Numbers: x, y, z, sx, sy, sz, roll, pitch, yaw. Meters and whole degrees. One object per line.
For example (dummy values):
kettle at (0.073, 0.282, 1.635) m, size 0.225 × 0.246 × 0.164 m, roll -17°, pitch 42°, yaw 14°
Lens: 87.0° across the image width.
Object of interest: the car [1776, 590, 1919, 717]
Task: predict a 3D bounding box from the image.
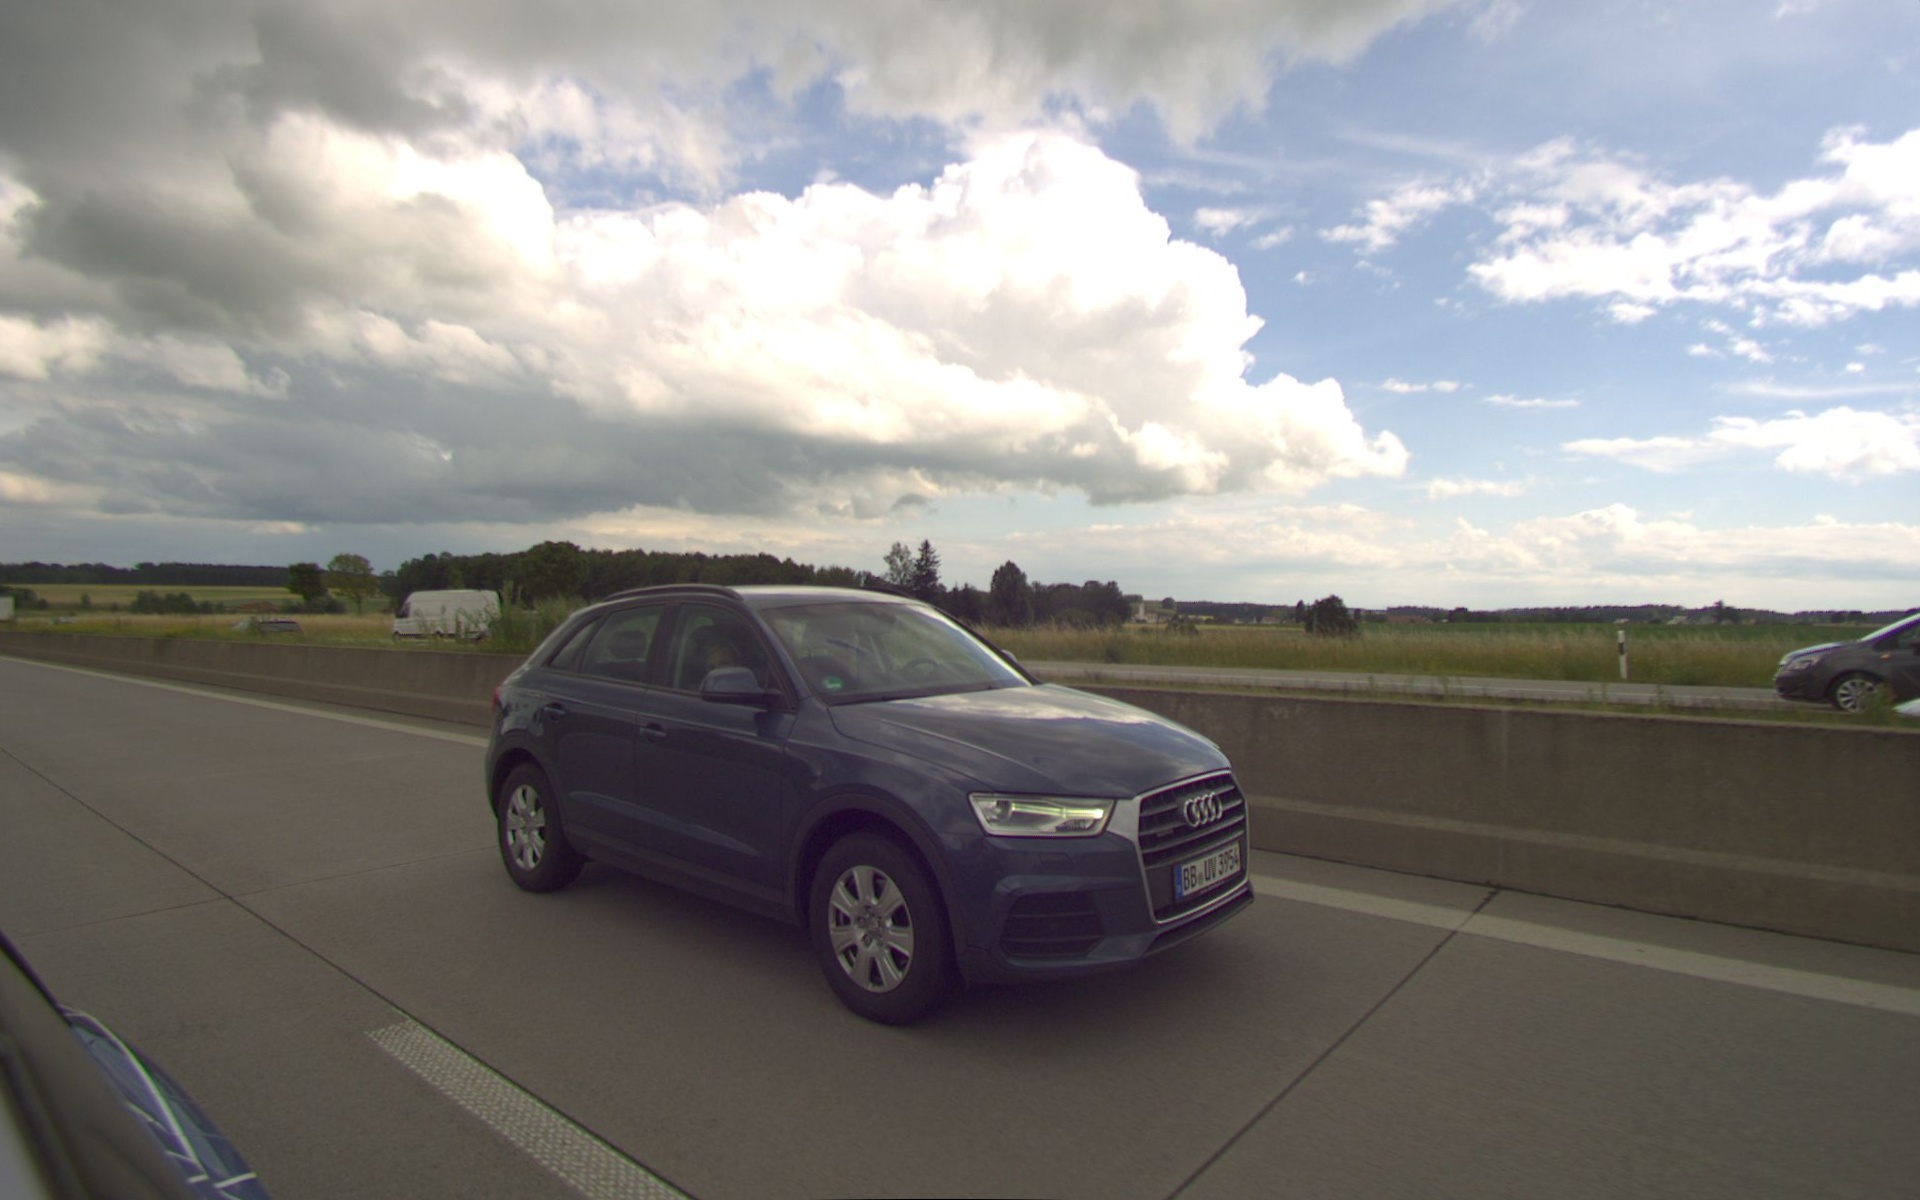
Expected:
car at (13.808, 0.676, 13.124) m, size 4.941 × 1.653 × 1.731 m, roll -1°, pitch -1°, yaw 41°

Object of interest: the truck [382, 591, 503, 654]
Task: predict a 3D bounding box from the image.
truck at (-23.088, 0.918, 44.955) m, size 7.443 × 2.586 × 2.122 m, roll 0°, pitch 0°, yaw 41°

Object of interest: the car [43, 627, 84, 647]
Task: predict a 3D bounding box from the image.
car at (-69.605, 2.875, 78.580) m, size 3.997 × 1.475 × 1.837 m, roll -1°, pitch -1°, yaw 40°

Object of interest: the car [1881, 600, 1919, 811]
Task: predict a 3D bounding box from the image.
car at (9.418, 0.778, 6.559) m, size 5.037 × 1.549 × 1.706 m, roll 0°, pitch 0°, yaw 41°

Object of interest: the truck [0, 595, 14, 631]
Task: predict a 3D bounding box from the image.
truck at (-121.079, 1.606, 126.397) m, size 14.558 × 4.287 × 2.812 m, roll 0°, pitch 0°, yaw 41°

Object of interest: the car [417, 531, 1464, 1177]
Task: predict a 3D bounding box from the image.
car at (-0.601, 0.660, 4.875) m, size 5.153 × 1.608 × 1.775 m, roll -1°, pitch 0°, yaw 40°

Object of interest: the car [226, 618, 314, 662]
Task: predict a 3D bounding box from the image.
car at (-24.382, 1.381, 35.722) m, size 4.221 × 1.471 × 1.557 m, roll -1°, pitch -1°, yaw 41°
